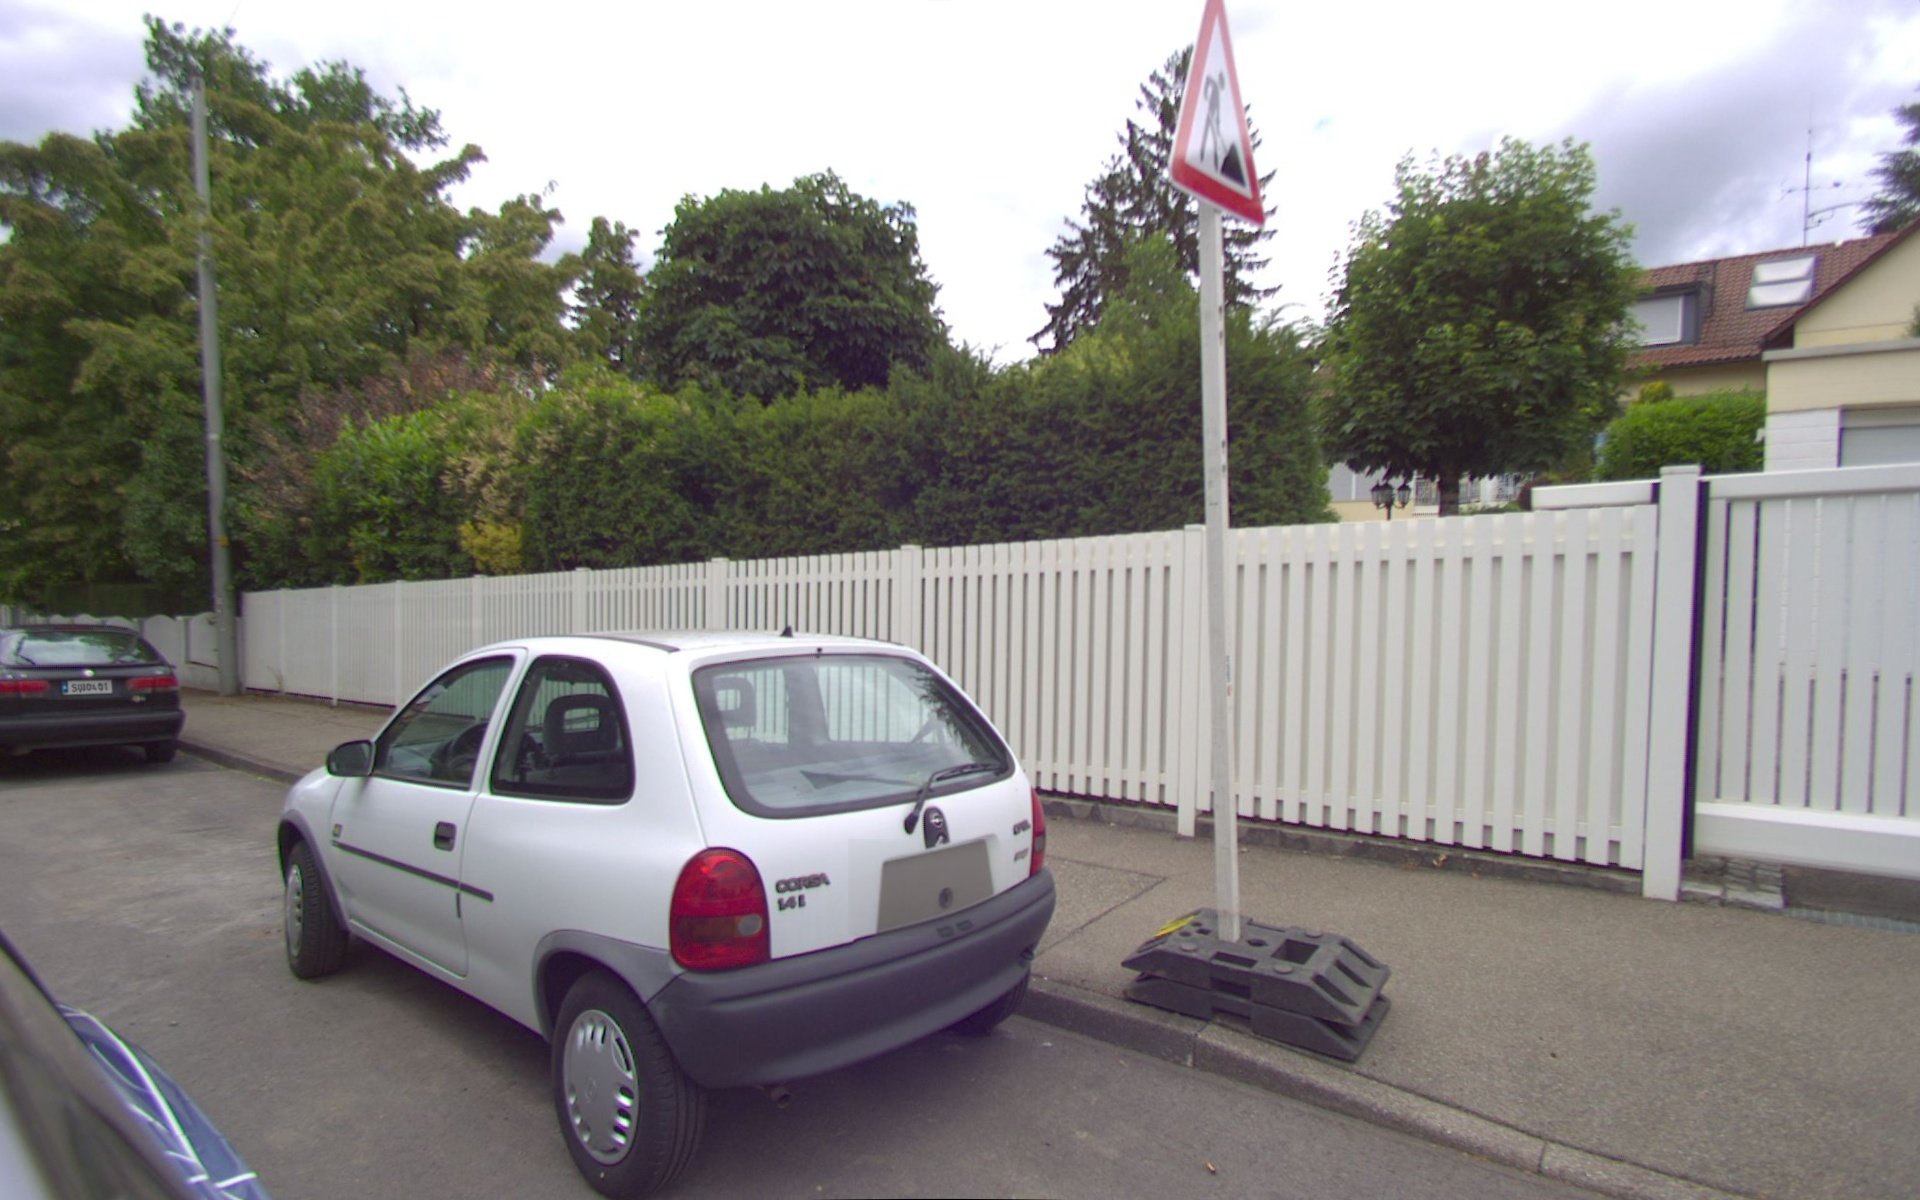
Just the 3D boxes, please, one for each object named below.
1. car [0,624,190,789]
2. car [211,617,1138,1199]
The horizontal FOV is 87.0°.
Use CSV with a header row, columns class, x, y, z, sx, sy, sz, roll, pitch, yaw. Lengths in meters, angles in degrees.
class,x,y,z,sx,sy,sz,roll,pitch,yaw
car,-9.711,0.974,10.757,4.549,1.433,1.623,-1,-2,42
car,-1.444,0.801,3.973,3.998,1.444,1.579,-1,-2,41
